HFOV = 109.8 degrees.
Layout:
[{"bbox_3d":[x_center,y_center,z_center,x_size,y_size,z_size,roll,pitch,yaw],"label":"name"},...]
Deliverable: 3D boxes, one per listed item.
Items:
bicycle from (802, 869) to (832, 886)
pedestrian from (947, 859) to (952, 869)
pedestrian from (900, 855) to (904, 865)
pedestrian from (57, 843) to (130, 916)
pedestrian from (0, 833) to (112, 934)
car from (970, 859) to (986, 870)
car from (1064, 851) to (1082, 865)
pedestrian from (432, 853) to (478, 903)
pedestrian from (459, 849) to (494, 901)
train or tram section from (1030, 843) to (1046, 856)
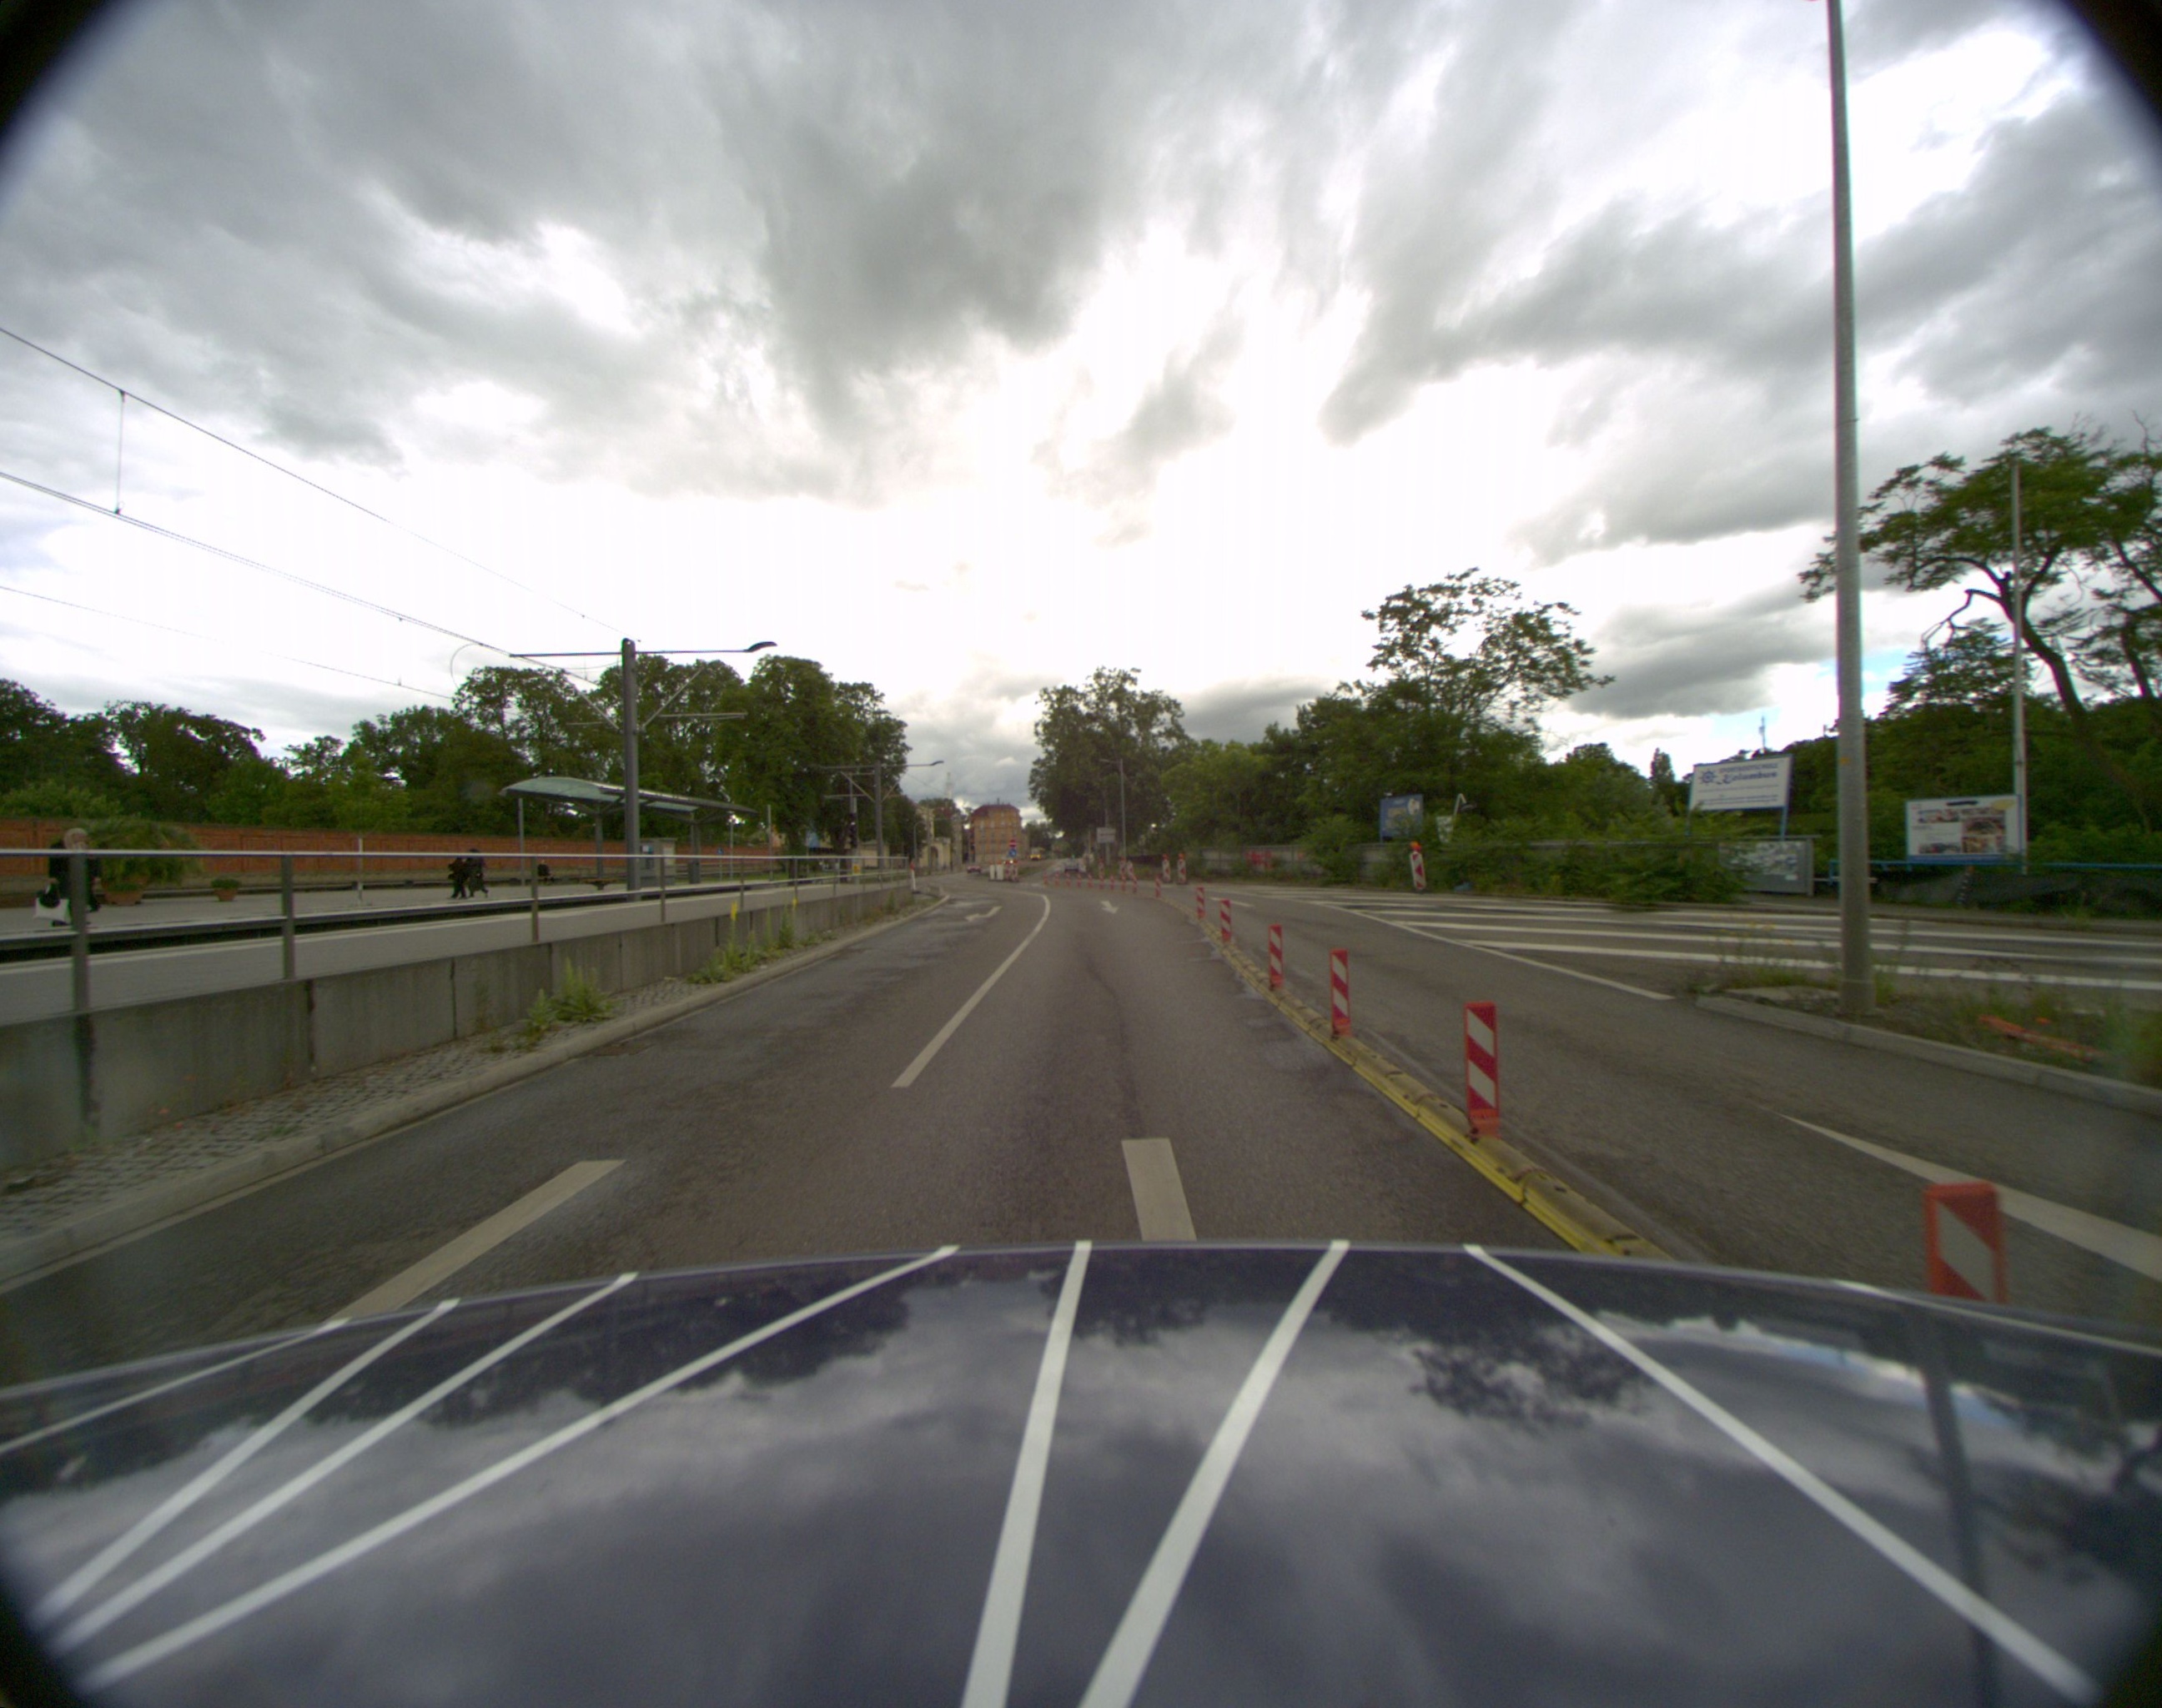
[{"bbox_3d":[-19.529,1.719,56.226,1.995,1.151,0.741,-2,1,4],"label":"bicycle"},{"bbox_3d":[-23.703,1.843,136.534,0.672,1.757,0.936,-1,1,-1],"label":"pedestrian"},{"bbox_3d":[-32.792,1.071,139.280,0.596,1.782,0.808,-1,1,-1],"label":"pedestrian"},{"bbox_3d":[-25.729,0.647,19.820,0.549,1.827,0.951,-4,1,-7],"label":"pedestrian"},{"bbox_3d":[-17.811,0.494,13.230,0.634,1.677,0.866,-4,1,0],"label":"pedestrian"},{"bbox_3d":[-14.046,1.416,103.790,1.681,1.433,4.119,-4,0,-1],"label":"car"},{"bbox_3d":[-1.068,0.518,98.986,1.869,1.772,4.746,-2,0,-4],"label":"car"},{"bbox_3d":[-20.535,0.775,24.946,0.741,1.591,0.772,-4,1,9],"label":"pedestrian"},{"bbox_3d":[-19.631,0.678,24.672,0.487,1.651,0.628,-4,1,9],"label":"pedestrian"},{"bbox_3d":[-12.070,-1.293,214.202,3.740,3.346,17.550,-1,1,-2],"label":"train or tram section"}]
